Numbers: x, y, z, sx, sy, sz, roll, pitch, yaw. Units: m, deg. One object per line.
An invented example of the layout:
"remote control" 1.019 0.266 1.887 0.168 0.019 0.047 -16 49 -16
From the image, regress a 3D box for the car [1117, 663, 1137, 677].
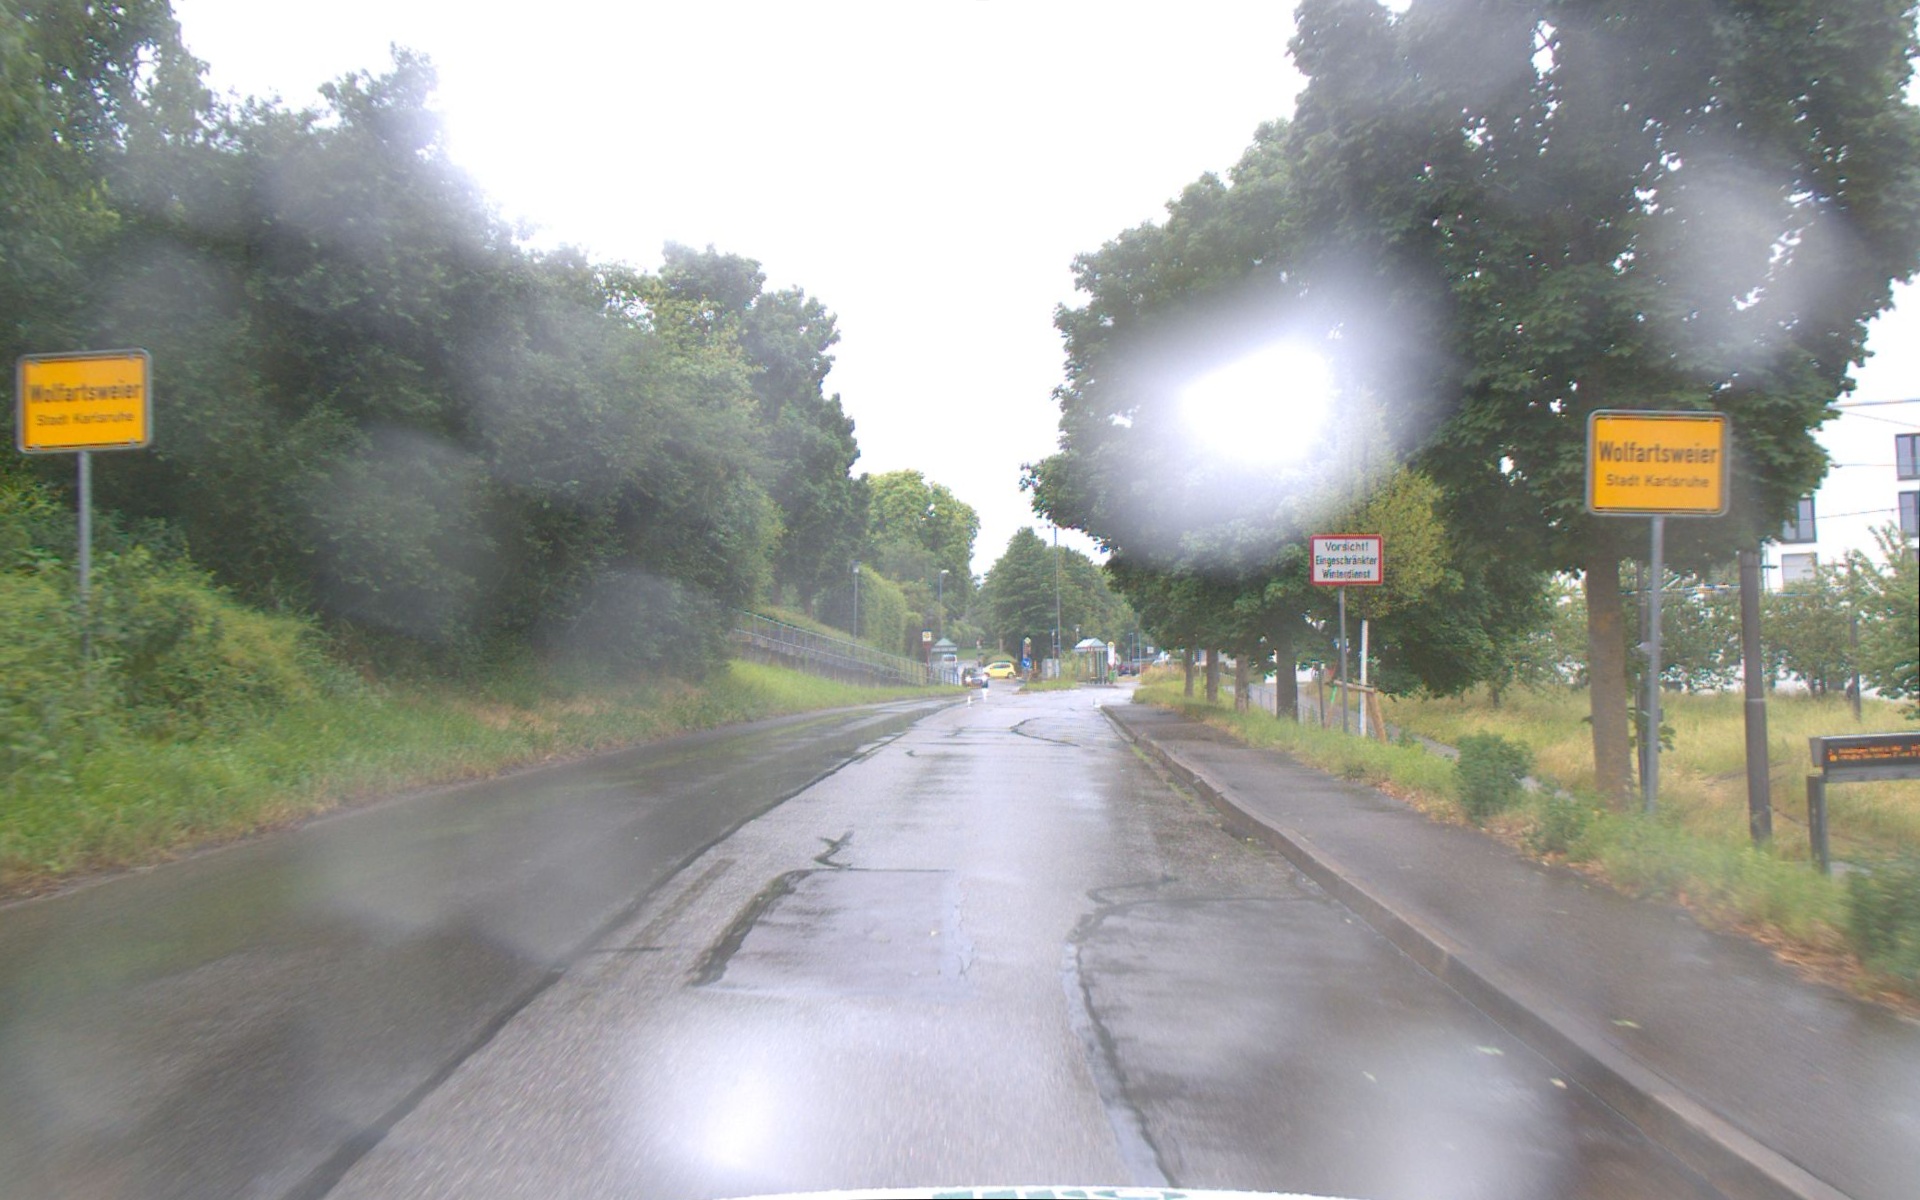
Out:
"car" 18.081 7.574 179.116 1.655 1.463 3.609 -1 -1 -4

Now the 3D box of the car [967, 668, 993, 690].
"car" 1.454 5.823 122.208 1.725 1.529 4.139 -3 -3 -2
